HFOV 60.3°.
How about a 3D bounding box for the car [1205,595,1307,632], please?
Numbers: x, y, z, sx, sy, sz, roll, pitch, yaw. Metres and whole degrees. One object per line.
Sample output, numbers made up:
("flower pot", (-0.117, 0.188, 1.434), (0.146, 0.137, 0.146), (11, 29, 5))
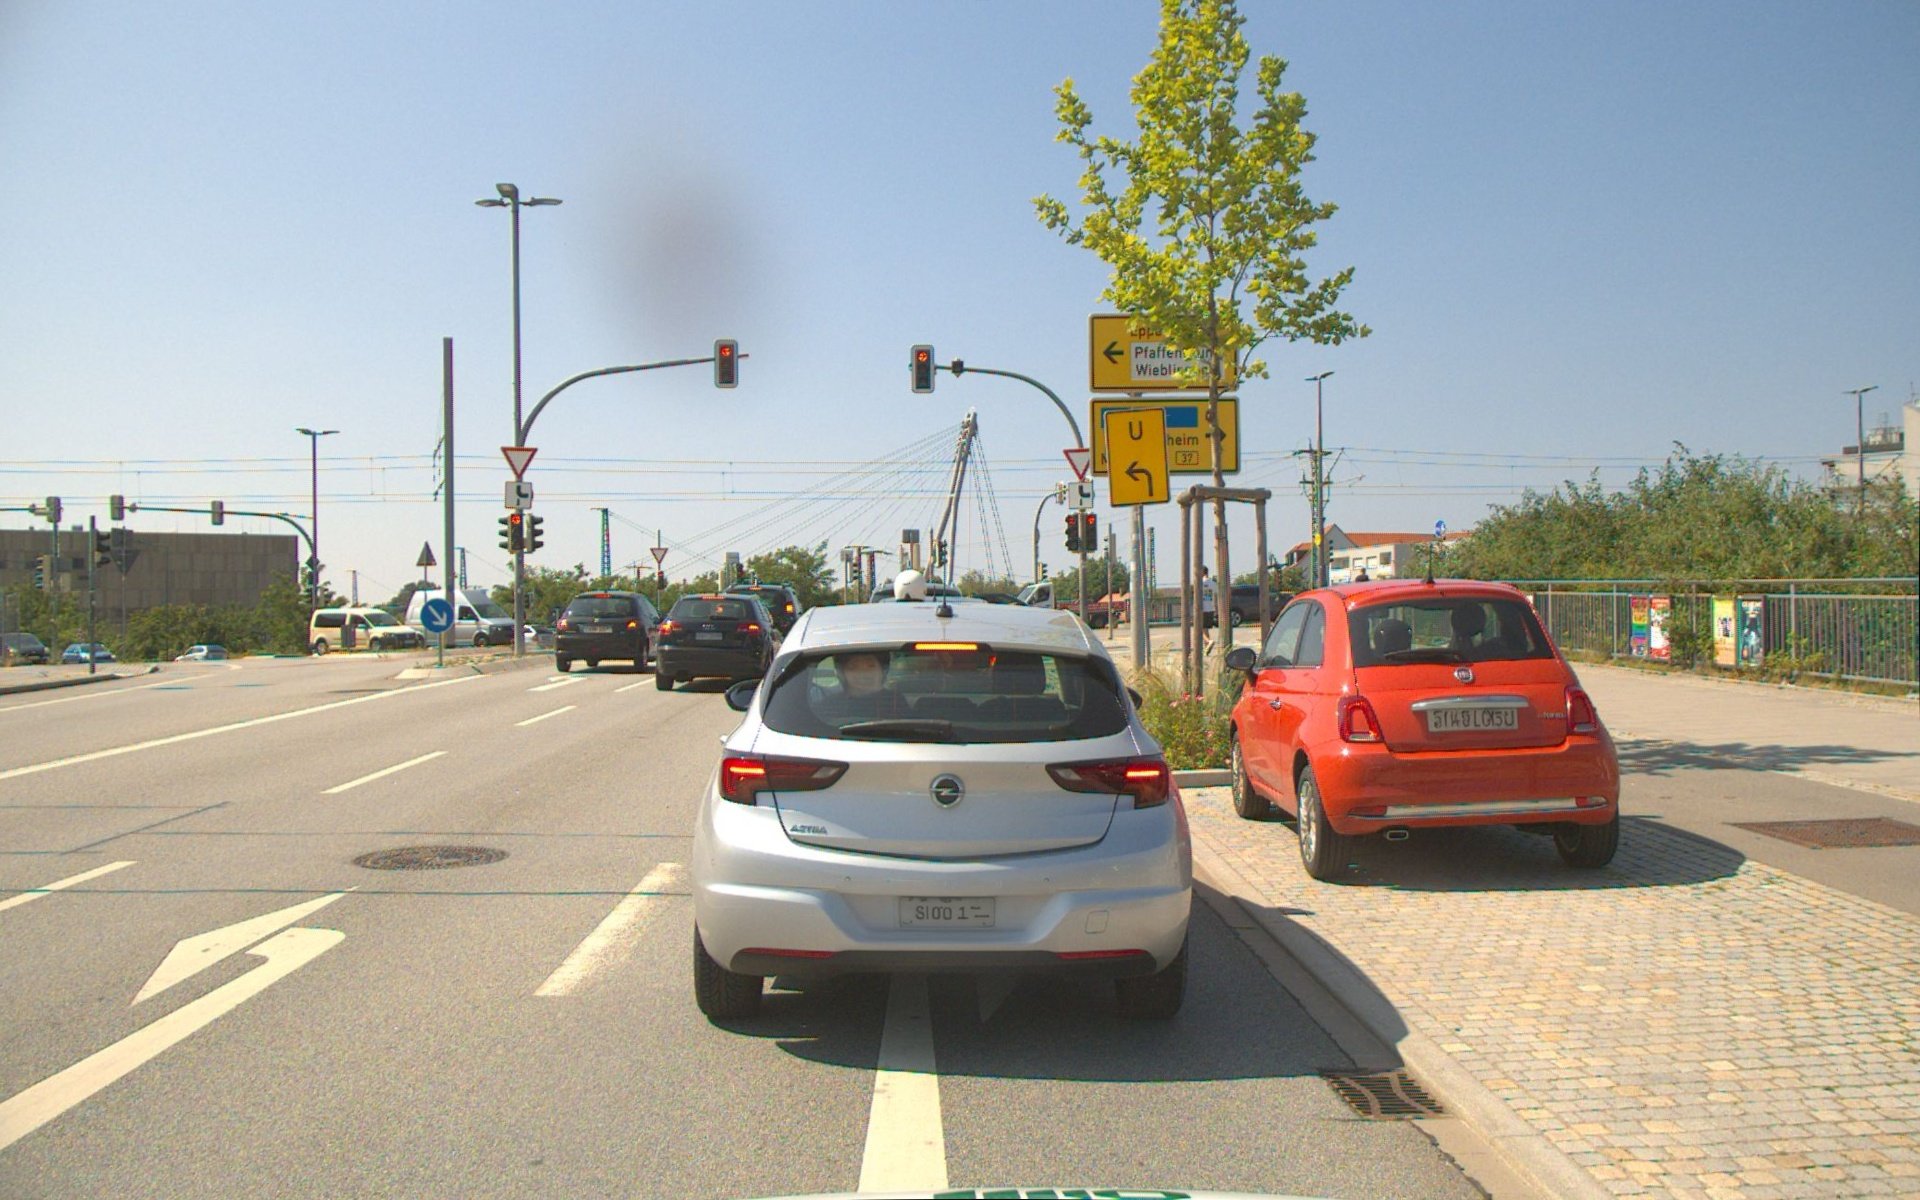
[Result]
("car", (11.609, 0.524, 65.023), (3.646, 1.408, 1.583), (0, -1, -9))

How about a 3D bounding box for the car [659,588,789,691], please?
("car", (-3.586, 0.577, 25.655), (1.543, 1.459, 3.785), (1, 0, -2))

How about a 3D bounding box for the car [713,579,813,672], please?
("car", (-3.698, 0.467, 31.519), (1.616, 1.643, 3.818), (1, 0, -3))

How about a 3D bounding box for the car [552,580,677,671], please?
("car", (-6.395, 0.464, 30.977), (1.565, 1.574, 3.761), (1, 0, -1))

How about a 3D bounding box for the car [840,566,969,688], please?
("car", (-0.759, 0.330, 23.923), (1.689, 1.591, 4.000), (1, 1, -1))

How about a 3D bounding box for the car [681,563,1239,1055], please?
("car", (-0.102, 0.659, 7.115), (1.708, 1.503, 3.997), (1, 0, -3))

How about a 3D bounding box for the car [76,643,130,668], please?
("car", (-47.616, 3.079, 91.908), (1.806, 1.354, 3.940), (1, -2, -41))

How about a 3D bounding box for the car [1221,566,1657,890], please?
("car", (2.608, 0.613, 9.763), (1.577, 1.522, 3.352), (-2, 0, 0))

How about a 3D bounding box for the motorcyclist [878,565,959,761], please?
("motorcyclist", (-0.305, 0.461, 12.351), (0.570, 1.413, 0.706), (1, -1, -1))

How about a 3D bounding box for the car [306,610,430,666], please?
("car", (-23.151, 1.471, 64.642), (4.612, 2.049, 1.997), (1, 0, 28))

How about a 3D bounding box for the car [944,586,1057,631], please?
("car", (1.519, 0.331, 62.788), (4.189, 1.660, 1.755), (0, -1, -2))

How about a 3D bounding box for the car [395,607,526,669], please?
("car", (-19.984, 1.484, 66.156), (4.896, 2.418, 1.784), (0, -1, 20))

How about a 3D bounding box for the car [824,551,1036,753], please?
("car", (-0.311, 0.460, 17.621), (1.953, 1.852, 4.401), (1, 1, -1))

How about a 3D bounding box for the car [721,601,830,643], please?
("car", (-7.017, 0.819, 63.220), (3.905, 1.508, 2.000), (1, 0, 0))

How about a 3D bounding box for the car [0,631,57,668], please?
("car", (-41.191, 2.161, 73.096), (1.662, 1.502, 3.358), (-1, 1, -39))

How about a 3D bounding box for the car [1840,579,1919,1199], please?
("car", (2.933, 0.646, 1.903), (1.626, 1.451, 3.999), (-2, 0, -1))

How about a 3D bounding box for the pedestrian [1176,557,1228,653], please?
("pedestrian", (4.795, 0.090, 32.755), (0.790, 1.868, 0.640), (0, -1, -40))
